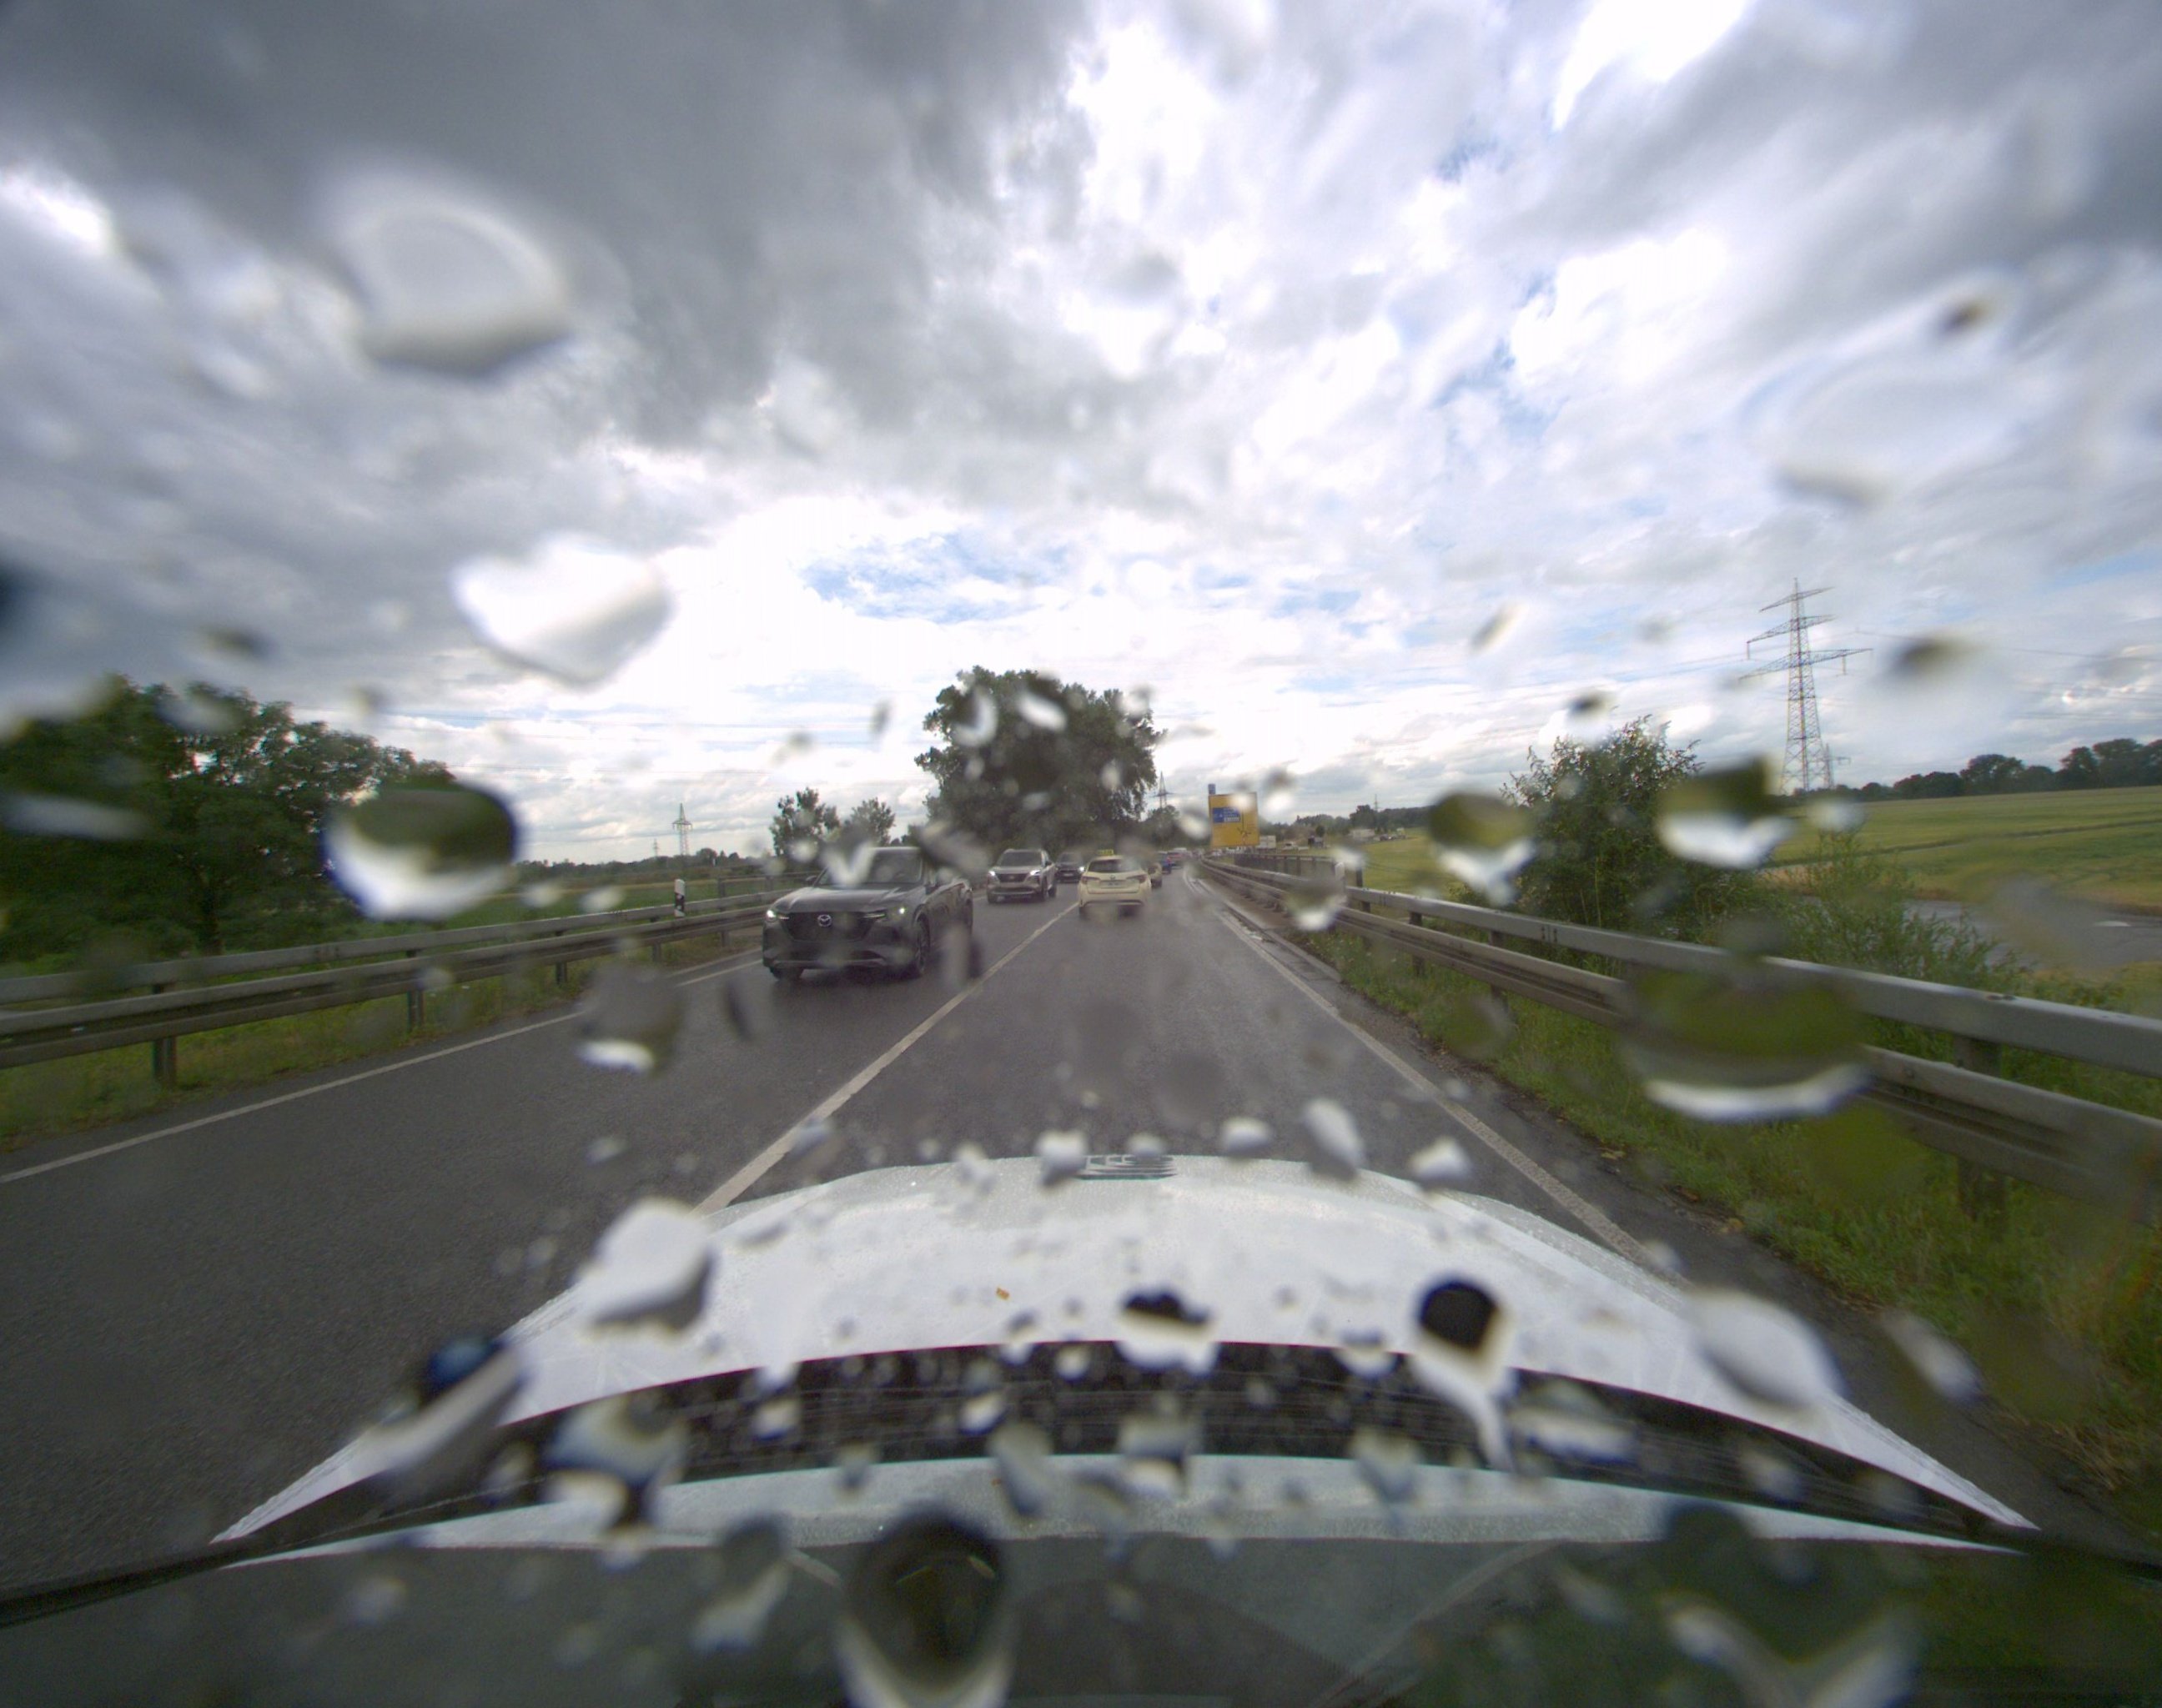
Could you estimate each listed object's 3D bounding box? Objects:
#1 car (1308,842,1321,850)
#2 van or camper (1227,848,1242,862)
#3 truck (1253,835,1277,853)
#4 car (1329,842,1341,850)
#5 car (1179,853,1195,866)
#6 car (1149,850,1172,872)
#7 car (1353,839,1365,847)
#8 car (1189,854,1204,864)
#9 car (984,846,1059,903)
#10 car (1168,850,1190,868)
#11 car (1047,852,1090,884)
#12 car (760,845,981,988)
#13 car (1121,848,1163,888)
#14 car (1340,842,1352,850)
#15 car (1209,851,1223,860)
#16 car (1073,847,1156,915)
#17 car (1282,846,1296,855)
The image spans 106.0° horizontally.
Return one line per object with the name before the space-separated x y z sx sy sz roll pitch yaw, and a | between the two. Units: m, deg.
car | 58.175 -1.963 202.940 1.974 2.014 4.025 -1 -1 31
van or camper | 26.659 0.168 141.271 1.977 2.254 4.019 -1 -1 19
truck | 37.981 -1.956 168.159 3.111 3.562 7.565 -1 -1 25
car | 67.307 -2.195 215.720 2.204 2.014 4.025 -1 -1 30
car | 12.155 0.685 93.339 1.650 1.409 3.914 -2 -1 9
car | 5.362 0.453 55.122 1.498 1.437 3.360 -1 0 5
car | 79.050 -3.165 231.708 1.974 2.014 4.025 -2 -1 37
car | 15.406 0.693 108.432 1.471 1.309 3.491 -1 0 16
car | -1.881 0.596 27.024 1.833 1.700 4.394 -1 1 4
car | 8.445 0.388 70.011 1.654 1.464 3.487 -1 0 11
car | -0.592 0.695 42.071 1.892 1.541 4.026 -1 0 3
car | -2.766 0.717 11.850 1.738 1.653 4.529 -1 0 4
car | 2.631 0.568 34.439 1.570 1.572 3.688 -1 0 7
car | 72.784 -2.239 223.689 1.974 2.014 4.025 -2 -1 35
car | 20.781 0.259 125.400 1.470 1.309 3.493 -1 0 18
car | 0.918 0.637 20.959 1.897 1.537 4.166 -1 0 4
car | 47.997 -0.871 187.681 2.146 2.014 4.024 -1 -1 27
